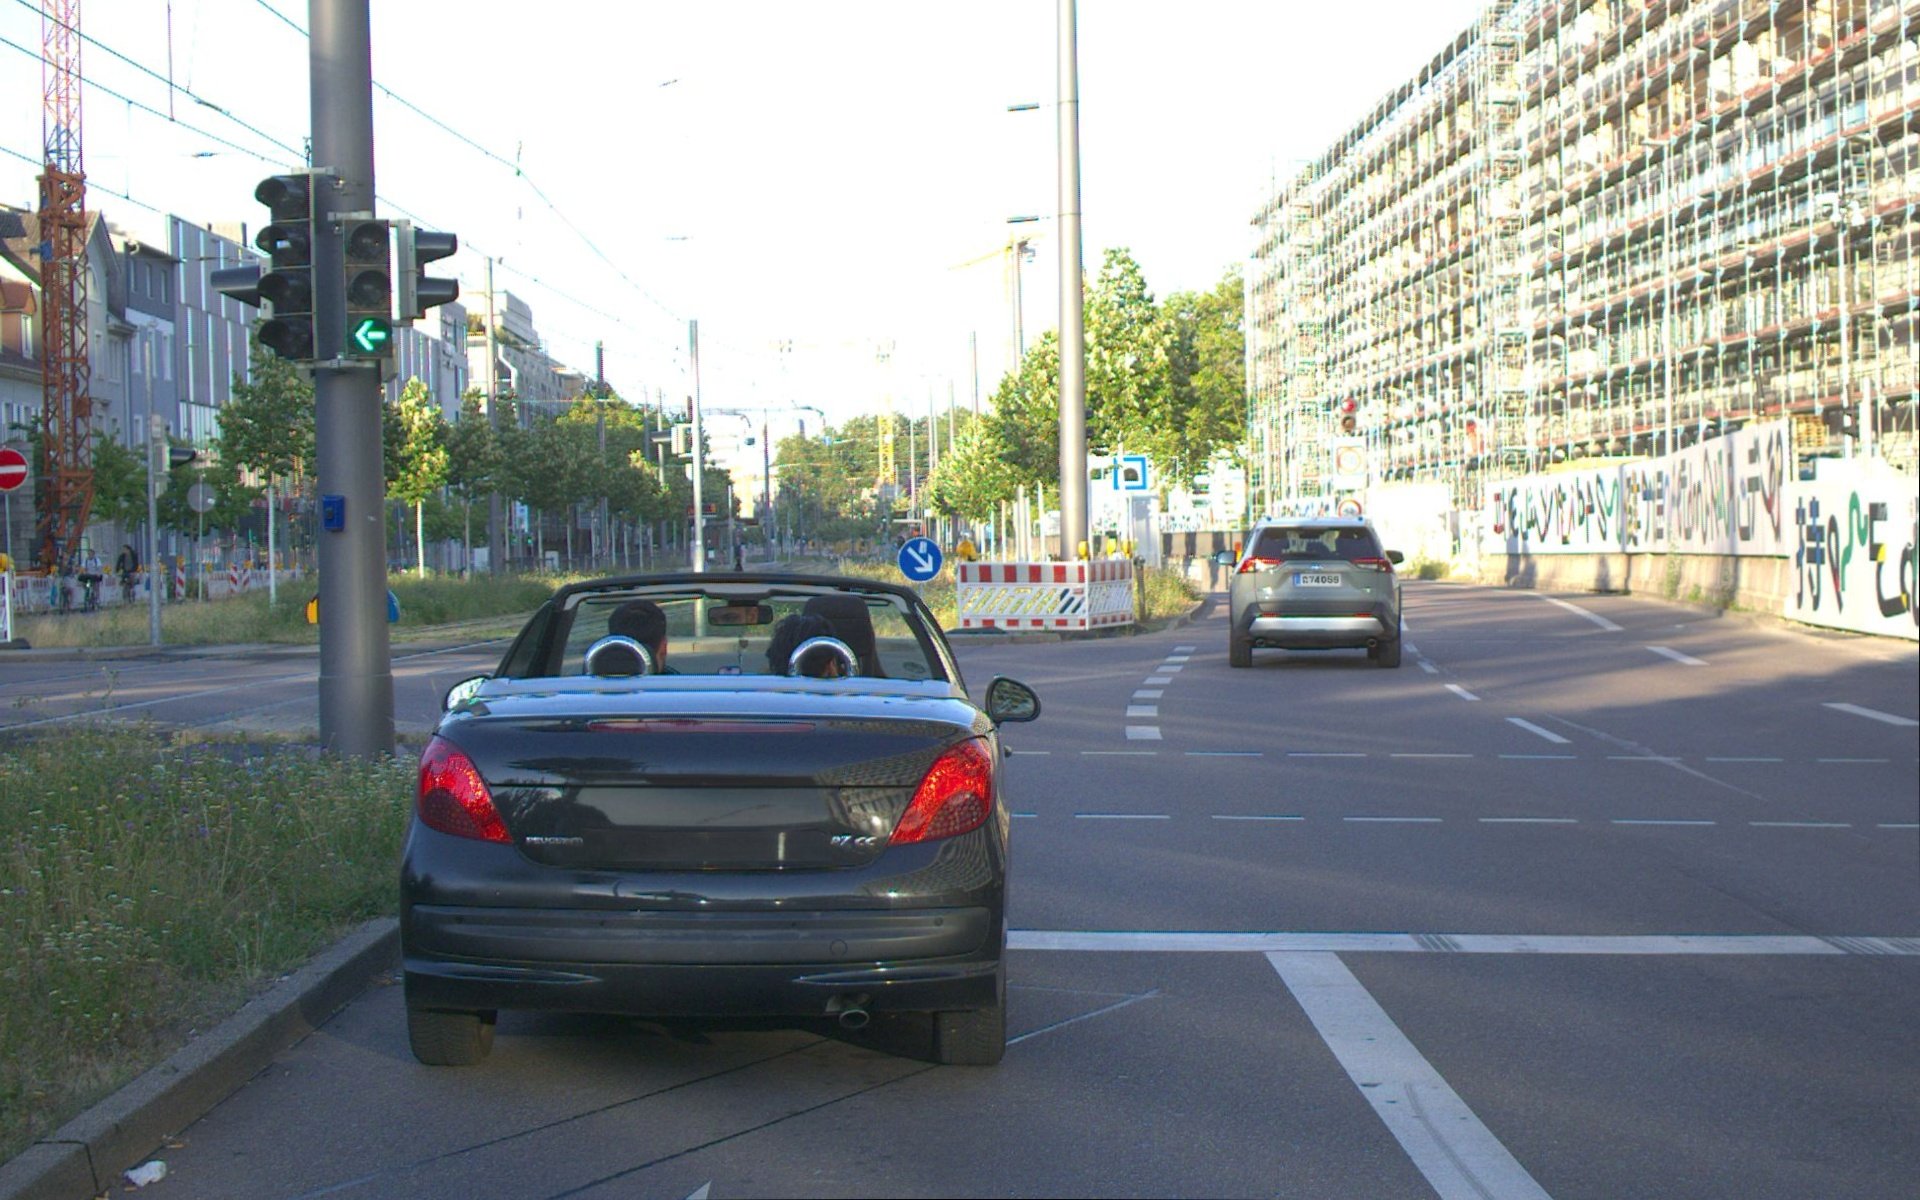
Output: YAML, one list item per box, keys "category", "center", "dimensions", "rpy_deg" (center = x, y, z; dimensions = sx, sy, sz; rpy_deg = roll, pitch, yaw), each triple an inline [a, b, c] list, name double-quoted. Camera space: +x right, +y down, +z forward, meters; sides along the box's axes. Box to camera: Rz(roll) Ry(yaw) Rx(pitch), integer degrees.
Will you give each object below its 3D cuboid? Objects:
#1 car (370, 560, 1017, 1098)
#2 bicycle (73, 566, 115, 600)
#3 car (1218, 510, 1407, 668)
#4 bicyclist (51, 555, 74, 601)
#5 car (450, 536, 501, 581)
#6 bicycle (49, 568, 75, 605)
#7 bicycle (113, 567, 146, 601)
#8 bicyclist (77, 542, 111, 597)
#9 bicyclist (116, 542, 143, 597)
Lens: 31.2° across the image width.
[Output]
- category: "car"
  center: [-0.745, 0.572, 10.926]
  dimensions: [1.674, 1.347, 4.001]
  rpy_deg: [0, 1, -2]
- category: "bicycle"
  center: [-25.210, -0.507, 100.104]
  dimensions: [0.772, 0.942, 1.640]
  rpy_deg: [1, 1, 0]
- category: "car"
  center: [3.887, -0.167, 38.469]
  dimensions: [1.834, 1.667, 4.282]
  rpy_deg: [0, 1, 2]
- category: "bicyclist"
  center: [-25.137, -0.622, 96.274]
  dimensions: [0.589, 1.262, 0.460]
  rpy_deg: [1, 1, -10]
- category: "car"
  center: [-22.067, -1.913, 156.755]
  dimensions: [1.658, 1.957, 4.266]
  rpy_deg: [1, 1, 0]
- category: "bicycle"
  center: [-25.143, -0.386, 96.277]
  dimensions: [0.589, 0.985, 1.556]
  rpy_deg: [1, 1, -10]
- category: "bicycle"
  center: [-24.171, -0.469, 100.058]
  dimensions: [0.590, 0.972, 1.556]
  rpy_deg: [1, 1, 0]
- category: "bicyclist"
  center: [-25.201, -0.899, 100.097]
  dimensions: [0.772, 1.565, 0.793]
  rpy_deg: [1, 1, 0]
- category: "bicyclist"
  center: [-24.163, -0.895, 100.045]
  dimensions: [0.590, 1.564, 0.711]
  rpy_deg: [1, 1, 0]
